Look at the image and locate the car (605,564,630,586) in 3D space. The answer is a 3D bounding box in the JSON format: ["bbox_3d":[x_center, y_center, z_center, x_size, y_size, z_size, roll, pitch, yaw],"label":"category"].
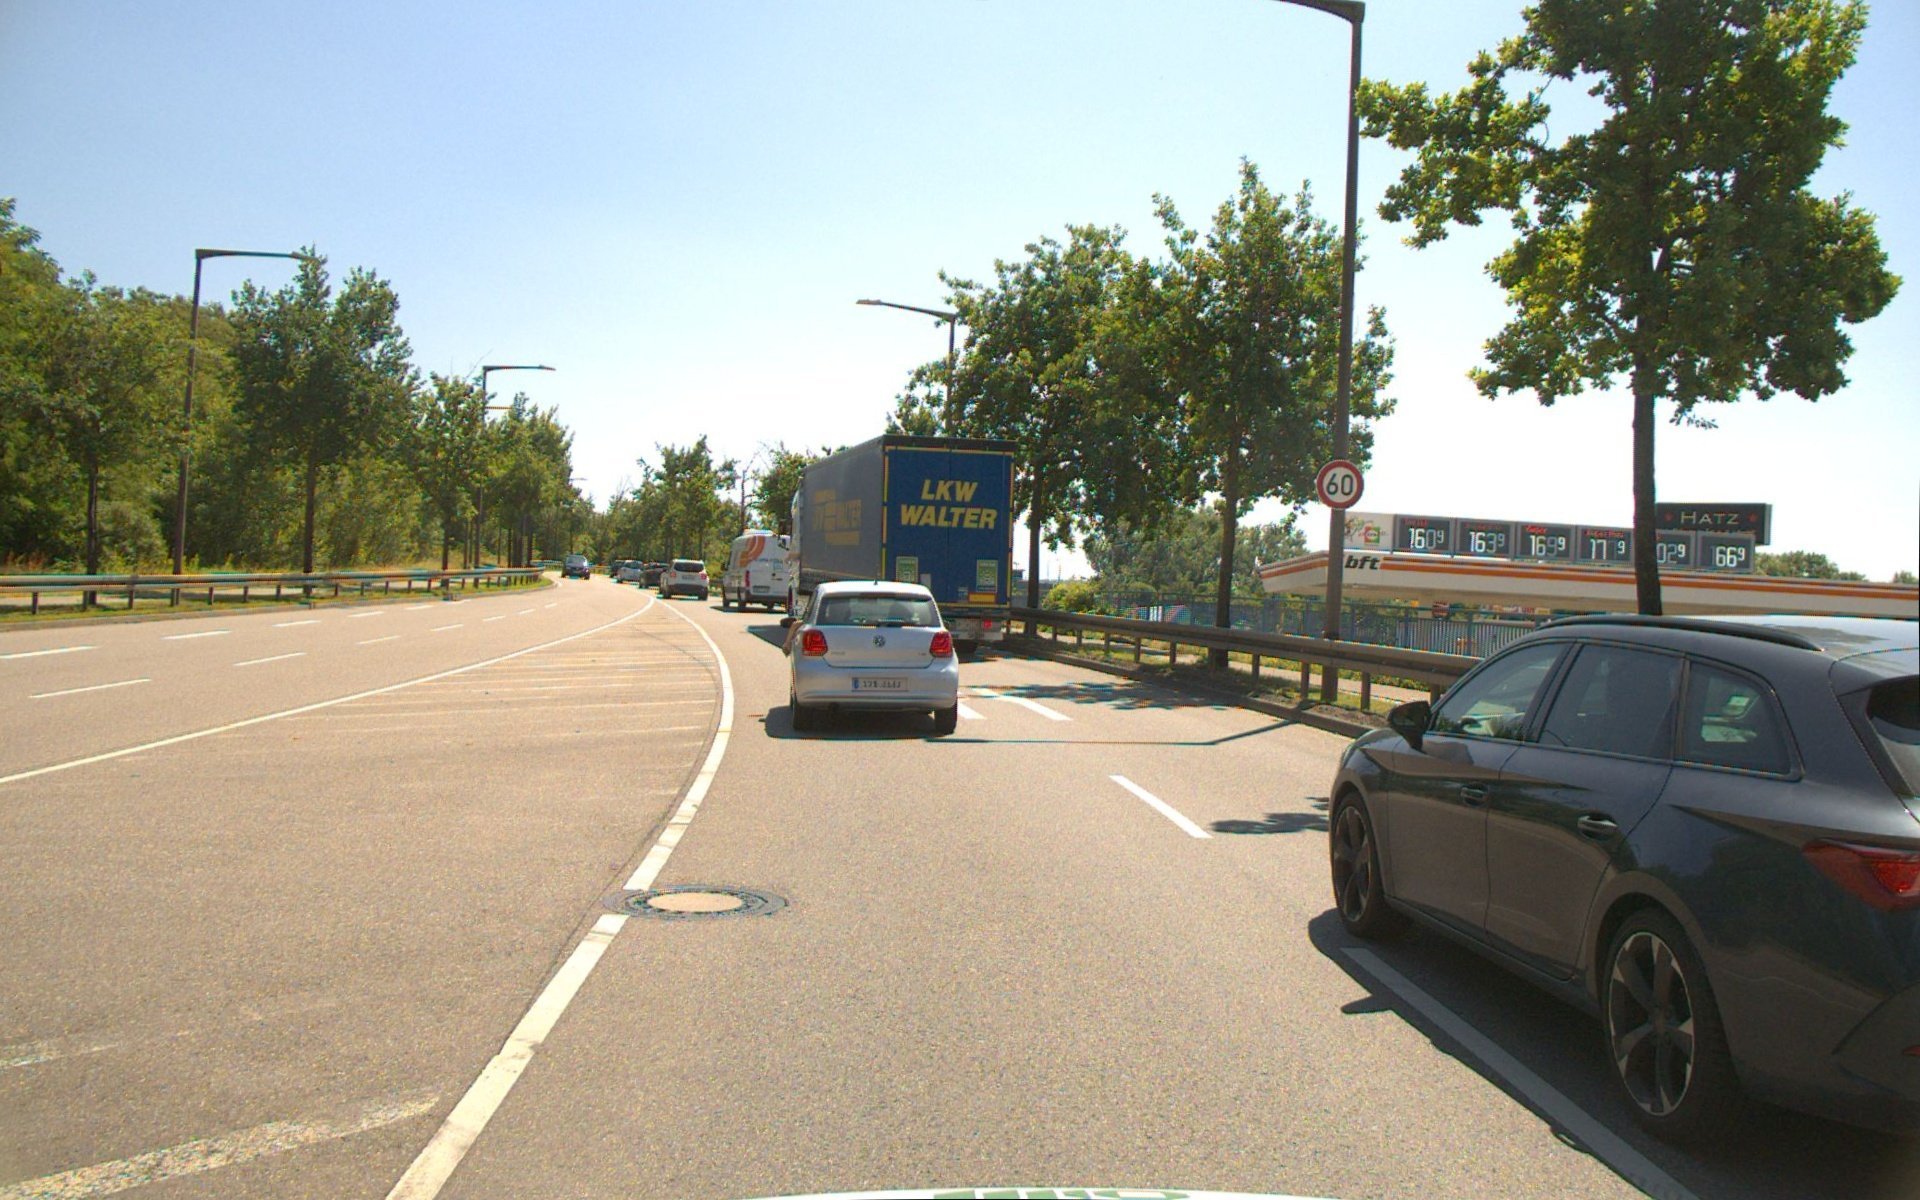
[{"bbox_3d":[-26.903,-1.949,130.034,1.634,1.491,3.573,2,-1,-8],"label":"car"}]

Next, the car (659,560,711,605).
[{"bbox_3d":[-11.922,-0.727,71.540,1.871,1.748,4.208,2,-1,-14],"label":"car"}]

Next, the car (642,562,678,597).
[{"bbox_3d":[-16.666,-1.126,91.817,1.692,1.756,3.986,2,-1,-13],"label":"car"}]

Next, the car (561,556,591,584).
[{"bbox_3d":[-24.570,-1.937,105.806,1.649,1.700,3.746,2,2,-11],"label":"car"}]

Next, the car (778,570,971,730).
[{"bbox_3d":[-0.995,0.502,17.399,1.616,1.464,3.529,2,-1,-9],"label":"car"}]

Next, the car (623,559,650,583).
[{"bbox_3d":[-20.632,-1.846,105.486,1.580,1.384,3.651,2,0,-13],"label":"car"}]

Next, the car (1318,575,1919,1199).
[{"bbox_3d":[2.659,0.752,5.724,1.573,1.481,4.230,2,-1,-5],"label":"car"}]

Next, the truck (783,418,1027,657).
[{"bbox_3d":[-1.846,-1.133,38.527,2.783,4.272,16.425,2,0,-12],"label":"truck"}]

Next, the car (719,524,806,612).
[{"bbox_3d":[-7.254,-1.157,60.162,2.140,2.951,6.333,2,1,-15],"label":"car"}]
